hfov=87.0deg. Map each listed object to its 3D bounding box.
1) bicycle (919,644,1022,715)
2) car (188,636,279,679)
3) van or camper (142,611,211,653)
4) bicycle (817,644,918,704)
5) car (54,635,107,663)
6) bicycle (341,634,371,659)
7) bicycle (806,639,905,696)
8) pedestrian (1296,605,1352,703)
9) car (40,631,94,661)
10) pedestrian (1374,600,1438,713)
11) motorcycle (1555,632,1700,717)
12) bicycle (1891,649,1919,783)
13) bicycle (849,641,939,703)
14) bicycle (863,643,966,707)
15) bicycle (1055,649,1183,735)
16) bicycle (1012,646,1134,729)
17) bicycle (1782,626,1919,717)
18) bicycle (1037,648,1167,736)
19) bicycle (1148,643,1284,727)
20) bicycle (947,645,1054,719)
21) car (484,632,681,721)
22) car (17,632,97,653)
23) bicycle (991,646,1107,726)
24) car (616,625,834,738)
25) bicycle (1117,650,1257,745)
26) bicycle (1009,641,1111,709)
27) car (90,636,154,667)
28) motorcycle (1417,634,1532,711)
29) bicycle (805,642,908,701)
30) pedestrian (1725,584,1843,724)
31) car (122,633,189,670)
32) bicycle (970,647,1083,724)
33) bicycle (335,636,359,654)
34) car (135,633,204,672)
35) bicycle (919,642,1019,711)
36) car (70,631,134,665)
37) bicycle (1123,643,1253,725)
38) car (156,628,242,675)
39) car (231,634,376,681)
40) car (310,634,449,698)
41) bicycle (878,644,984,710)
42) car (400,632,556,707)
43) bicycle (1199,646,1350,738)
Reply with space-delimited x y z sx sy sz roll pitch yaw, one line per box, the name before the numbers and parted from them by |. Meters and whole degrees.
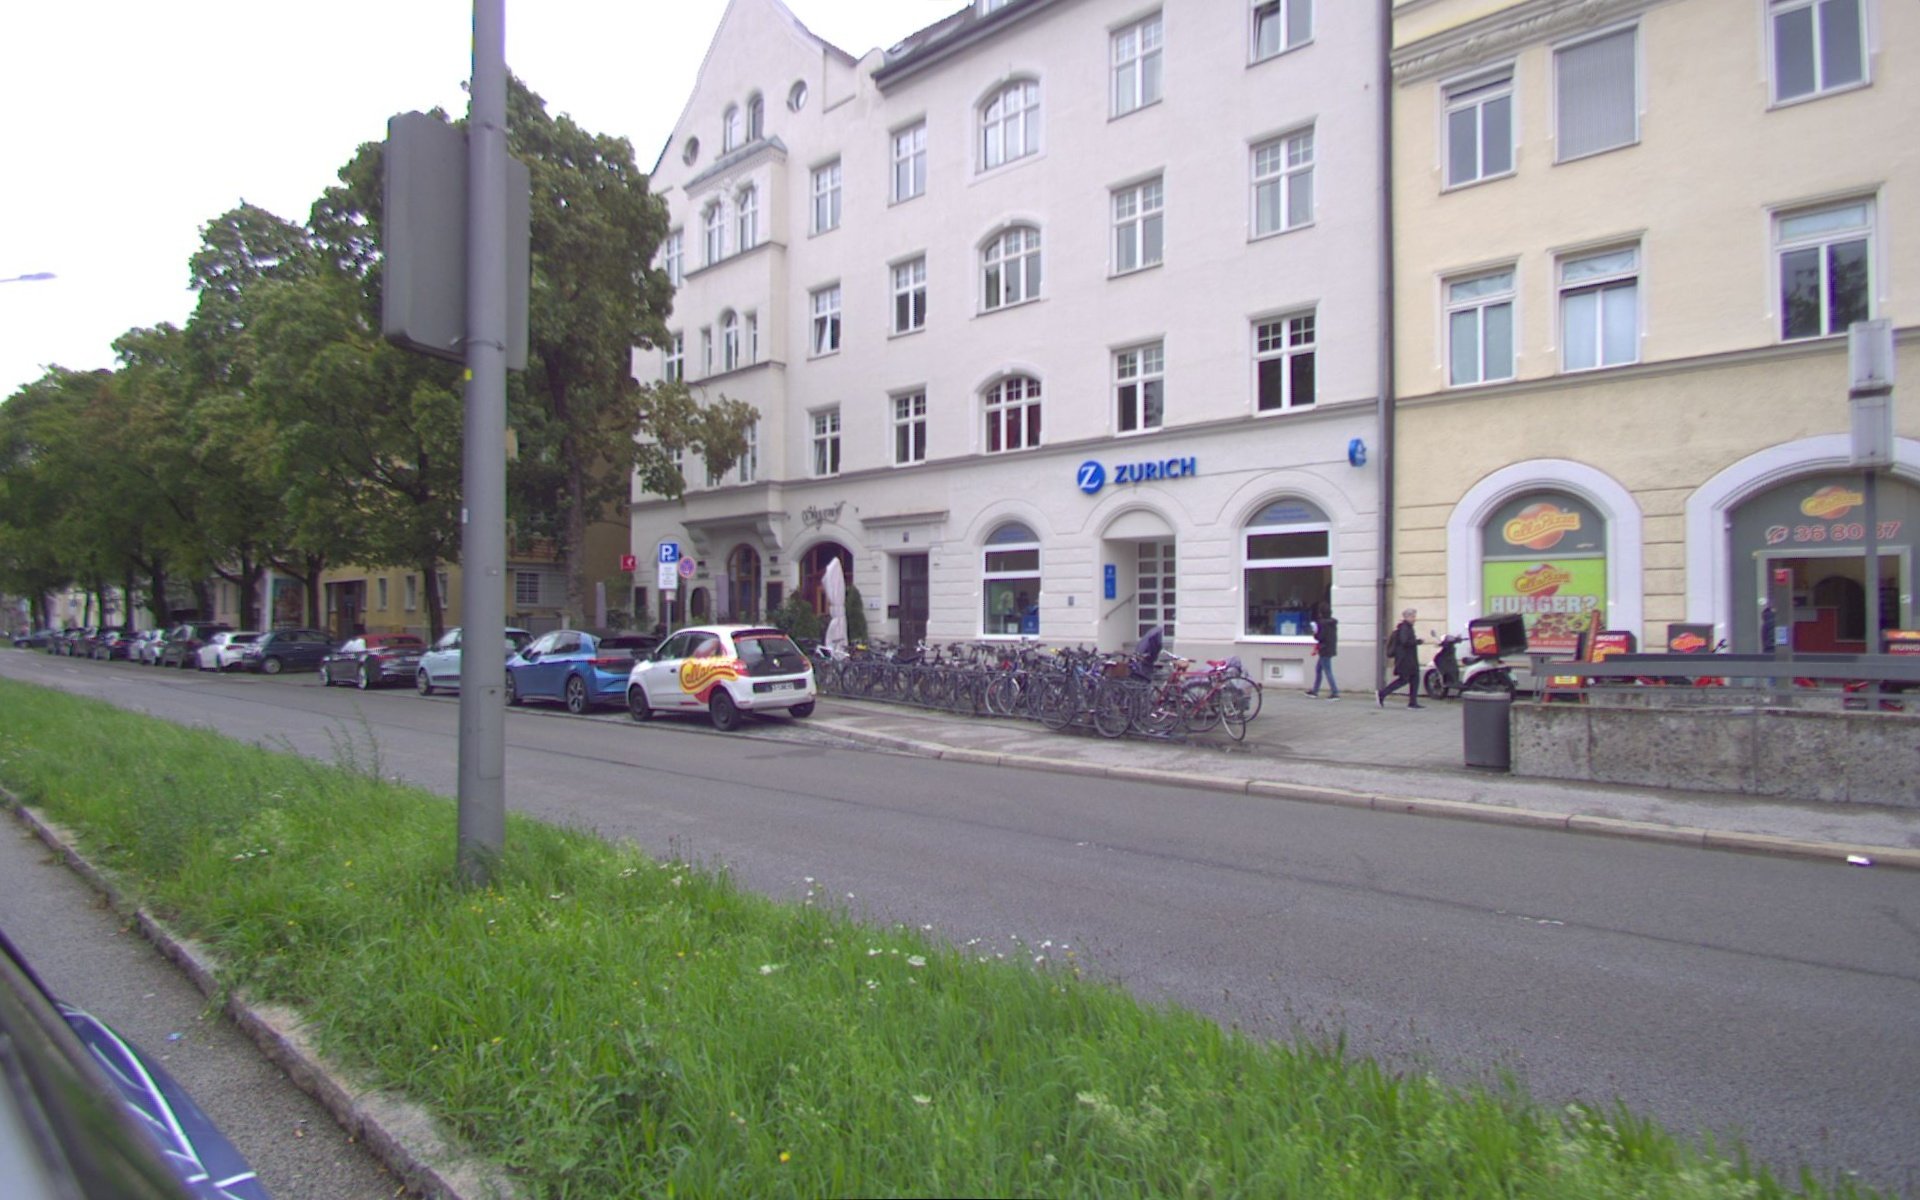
bicycle | 0.164 1.290 16.647 1.667 1.124 0.328 -1 -2 18
car | -26.006 2.020 36.191 4.402 1.413 1.708 -2 -2 42
van or camper | -51.397 2.093 66.311 6.848 2.599 2.321 -2 -2 42
bicycle | -1.776 1.411 19.483 1.860 1.124 0.548 -1 -2 10
car | -49.173 2.699 56.549 4.491 1.465 1.674 -2 -2 42
bicycle | -30.467 2.322 51.038 1.930 1.231 0.761 -2 -2 41
bicycle | -2.110 1.362 20.505 1.944 1.124 0.457 -1 -2 10
pedestrian | 6.284 0.919 17.468 0.416 1.644 0.784 1 -2 -42
car | -53.005 2.720 60.047 4.436 1.700 1.854 -2 -2 42
pedestrian | 6.947 0.863 15.781 0.770 1.710 0.537 -2 -2 39
motorcycle | 9.889 1.067 15.097 0.600 1.130 1.991 0 -1 -9
bicycle | 8.922 0.974 8.311 1.808 1.124 0.392 -1 -2 33
bicycle | -1.231 1.343 18.884 1.664 1.124 0.329 -1 -2 14
bicycle | -0.833 1.337 18.269 1.859 1.124 0.328 -1 -2 18
bicycle | 2.150 1.234 13.742 1.667 1.124 0.328 -1 -2 18
bicycle | 1.593 1.222 14.351 1.667 1.124 0.365 -1 -2 18
bicycle | 10.327 0.797 11.463 1.544 0.988 0.468 -2 -2 42
bicycle | 1.879 1.198 13.420 1.667 1.124 0.366 -1 -2 18
bicycle | 3.541 1.160 14.051 1.799 1.124 0.394 -1 -2 18
bicycle | 0.633 1.279 15.998 1.667 1.124 0.328 -1 -2 18
car | -7.386 1.385 19.611 4.289 1.518 1.791 -2 -2 42
car | -65.751 3.111 73.772 3.932 1.386 1.867 -1 -2 -15
bicycle | 1.305 1.252 14.898 1.667 1.124 0.328 -1 -2 18
car | -3.893 1.221 16.400 3.790 1.597 1.631 -2 -2 43
bicycle | 2.813 1.193 12.594 1.667 1.124 0.328 -1 -2 18
bicycle | 1.678 1.252 17.083 1.667 1.124 0.328 -1 -2 18
car | -40.374 2.435 48.719 4.361 1.416 1.708 -2 -2 42
motorcycle | 8.366 1.143 16.555 0.600 1.139 1.991 0 -1 -9
bicycle | -2.055 1.408 20.038 1.967 1.124 0.503 -1 -2 10
pedestrian | 10.344 0.669 12.738 0.936 1.710 0.590 -1 -2 14
car | -36.331 2.272 45.659 4.055 1.573 1.708 -2 -2 42
bicycle | 1.008 1.278 15.384 1.667 1.124 0.380 -1 -2 18
bicycle | -31.988 2.361 52.796 1.930 0.906 0.536 -2 -2 41
car | -33.537 2.214 42.911 3.007 1.569 1.709 -2 -2 40
bicycle | 0.148 1.282 17.091 1.667 1.124 0.328 -1 -2 18
car | -44.644 2.474 52.613 4.768 1.658 1.859 -2 -2 42
bicycle | 3.287 1.196 14.607 1.799 1.124 0.394 -1 -2 18
car | -30.124 1.998 40.017 4.765 1.741 1.791 -2 -2 42
car | -22.538 1.930 34.847 1.731 1.475 3.850 -2 -2 40
car | -15.331 1.654 26.630 4.643 1.518 1.791 -2 -2 42
bicycle | -0.516 1.333 17.749 1.859 1.124 0.328 -1 -2 18
car | -10.939 1.507 22.877 3.959 1.518 1.791 -2 -2 42
bicycle | 4.001 1.156 12.946 1.799 1.124 0.394 -1 -2 18
